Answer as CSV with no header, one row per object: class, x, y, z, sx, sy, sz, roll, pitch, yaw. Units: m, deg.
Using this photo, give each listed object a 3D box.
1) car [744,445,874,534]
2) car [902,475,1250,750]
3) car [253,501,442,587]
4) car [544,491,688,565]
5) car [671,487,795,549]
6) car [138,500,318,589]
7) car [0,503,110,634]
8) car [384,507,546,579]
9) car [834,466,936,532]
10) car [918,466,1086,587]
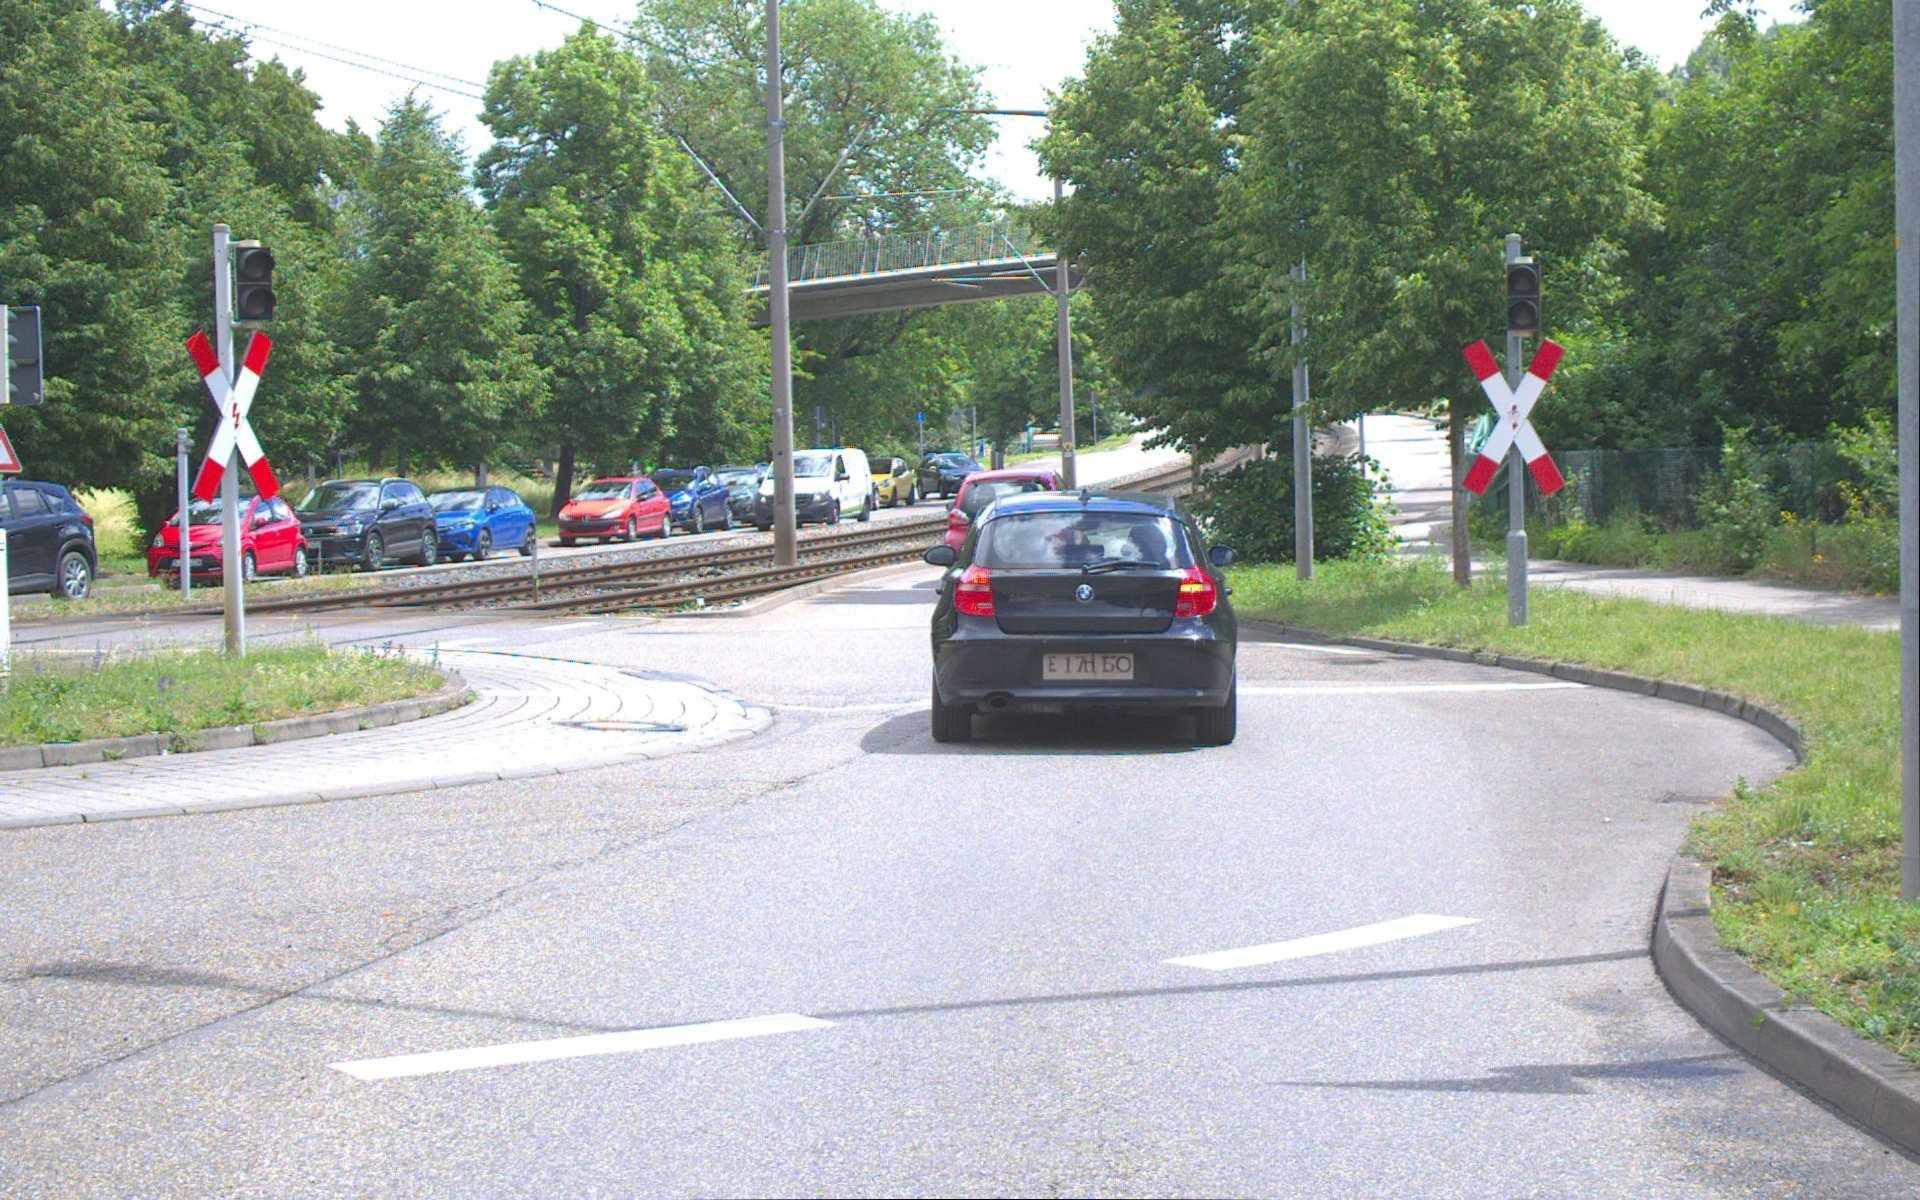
car,-3.543,-2.619,81.382,1.995,2.006,3.998,-1,2,14
car,0.673,0.061,20.413,1.815,1.416,4.000,-2,0,2
car,-10.809,-1.013,60.895,1.881,1.420,3.528,-1,2,17
car,-7.633,-1.617,76.656,1.914,1.555,3.998,-1,2,14
car,-5.719,-2.096,87.093,1.995,1.468,3.998,-1,2,14
car,-11.931,-0.928,56.251,1.529,1.366,3.596,-1,1,12
car,-12.605,-0.372,42.549,1.995,1.591,4.416,-1,1,18
car,-9.522,-1.116,66.392,1.807,1.249,3.566,-1,2,15
car,-2.223,-3.030,102.459,1.995,1.856,3.998,-1,2,14
car,0.494,-0.914,43.984,1.765,1.427,3.479,-2,1,-5
